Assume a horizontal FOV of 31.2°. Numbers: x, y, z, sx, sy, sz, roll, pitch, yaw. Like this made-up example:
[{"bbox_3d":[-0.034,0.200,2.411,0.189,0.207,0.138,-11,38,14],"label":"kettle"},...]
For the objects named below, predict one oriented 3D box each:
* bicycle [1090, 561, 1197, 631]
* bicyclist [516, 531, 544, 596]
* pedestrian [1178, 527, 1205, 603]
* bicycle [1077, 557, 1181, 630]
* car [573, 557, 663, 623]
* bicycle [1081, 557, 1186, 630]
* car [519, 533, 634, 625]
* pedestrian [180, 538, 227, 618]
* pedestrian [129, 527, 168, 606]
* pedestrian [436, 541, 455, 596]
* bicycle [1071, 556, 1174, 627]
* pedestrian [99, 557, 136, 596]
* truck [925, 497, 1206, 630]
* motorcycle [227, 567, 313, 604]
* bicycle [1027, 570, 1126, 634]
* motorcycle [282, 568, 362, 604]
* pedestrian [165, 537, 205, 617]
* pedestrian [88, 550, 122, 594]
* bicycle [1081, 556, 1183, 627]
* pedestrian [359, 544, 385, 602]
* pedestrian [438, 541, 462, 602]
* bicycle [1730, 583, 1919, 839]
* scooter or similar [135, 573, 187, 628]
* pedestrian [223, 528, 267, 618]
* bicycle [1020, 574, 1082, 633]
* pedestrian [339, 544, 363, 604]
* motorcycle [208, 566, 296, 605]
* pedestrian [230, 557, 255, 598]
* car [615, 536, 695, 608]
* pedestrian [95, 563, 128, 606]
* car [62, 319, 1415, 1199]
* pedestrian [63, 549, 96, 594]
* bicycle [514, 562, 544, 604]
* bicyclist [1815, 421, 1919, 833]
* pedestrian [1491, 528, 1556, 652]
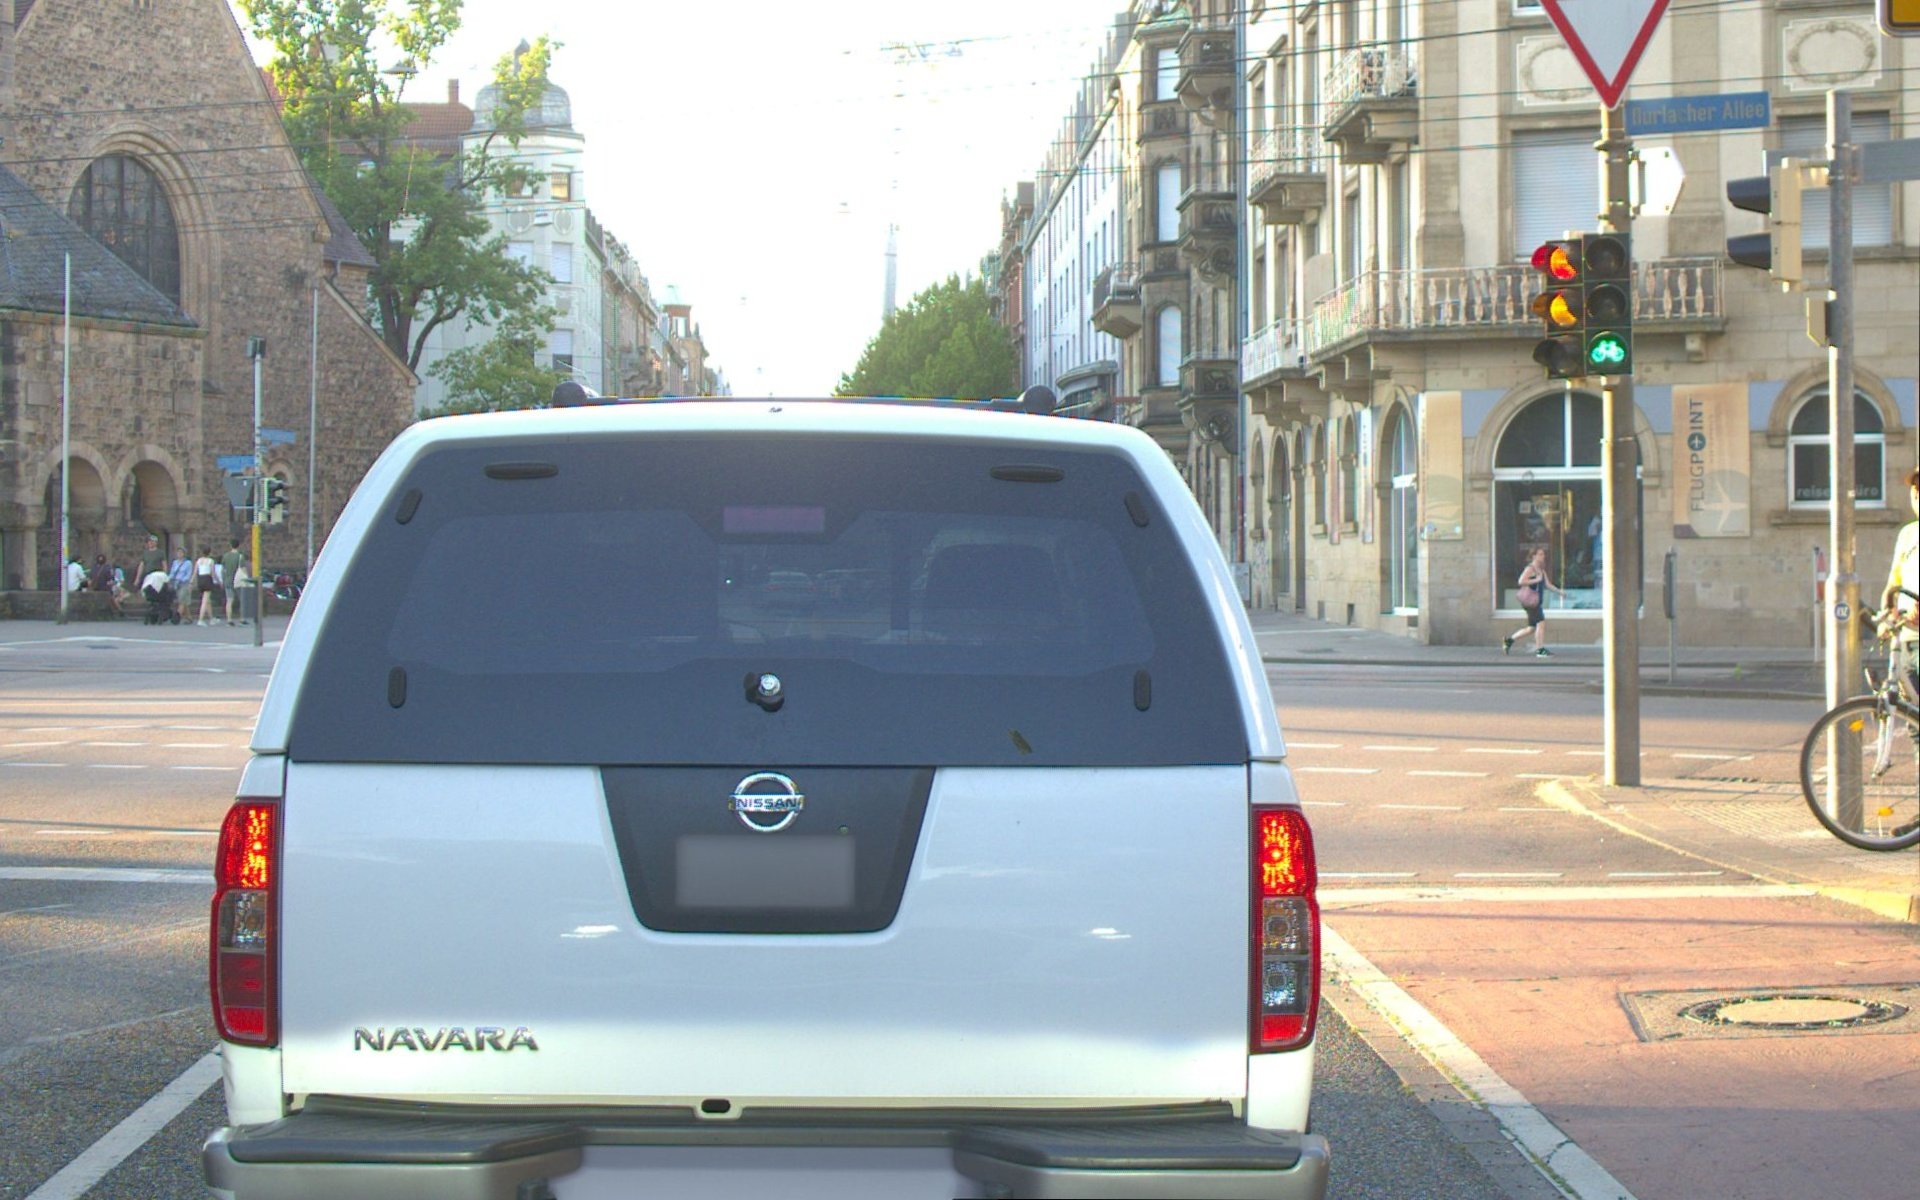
[{"bbox_3d":[3.318,-0.076,62.239,1.817,1.146,0.636,-3,0,-2],"label":"bicycle"},{"bbox_3d":[-10.894,-0.923,87.068,0.599,1.639,0.963,1,0,-2],"label":"bicyclist"},{"bbox_3d":[5.016,-0.756,74.429,0.527,1.648,0.547,1,0,-1],"label":"pedestrian"},{"bbox_3d":[3.135,-0.124,63.891,1.817,1.233,0.478,-3,0,-2],"label":"bicycle"},{"bbox_3d":[-8.247,-0.234,83.233,1.993,1.552,4.769,0,0,-3],"label":"car"},{"bbox_3d":[3.182,-0.125,63.179,1.817,1.233,0.488,-3,0,-2],"label":"bicycle"},{"bbox_3d":[-7.950,-0.470,71.592,1.993,1.778,4.798,-1,2,-2],"label":"car"},{"bbox_3d":[-16.028,-0.466,72.883,0.812,1.664,0.860,1,0,-3],"label":"pedestrian"},{"bbox_3d":[-17.472,-0.716,74.040,0.634,1.693,0.603,1,0,6],"label":"pedestrian"},{"bbox_3d":[-15.964,-0.963,106.670,0.560,1.690,0.645,1,0,-8],"label":"pedestrian"},{"bbox_3d":[3.097,-0.165,65.753,1.855,1.233,0.531,-3,0,-2],"label":"bicycle"},{"bbox_3d":[-21.078,-0.592,86.014,0.708,0.957,0.552,1,0,31],"label":"pedestrian"},{"bbox_3d":[2.153,-0.717,68.794,5.658,2.556,2.286,0,1,-44],"label":"truck"},{"bbox_3d":[-18.811,-0.395,93.726,2.243,0.984,0.708,1,0,-6],"label":"motorcycle"},{"bbox_3d":[2.119,0.034,62.704,1.726,1.080,0.317,-3,0,-2],"label":"bicycle"},{"bbox_3d":[-17.814,-0.392,96.015,2.167,0.984,0.593,1,0,19],"label":"motorcycle"},{"bbox_3d":[-16.606,-0.488,73.712,0.634,1.693,0.602,1,0,10],"label":"pedestrian"},{"bbox_3d":[-18.579,-0.610,74.696,0.522,0.957,0.479,1,0,19],"label":"pedestrian"},{"bbox_3d":[3.227,-0.160,64.616,1.817,1.233,0.412,-3,0,-2],"label":"bicycle"},{"bbox_3d":[-17.082,-0.784,99.827,0.642,1.690,0.562,1,0,-1],"label":"pedestrian"},{"bbox_3d":[-15.703,-0.873,105.832,0.642,1.849,0.562,1,0,-15],"label":"pedestrian"},{"bbox_3d":[4.495,0.486,15.695,2.065,1.106,0.628,1,0,-33],"label":"bicycle"},{"bbox_3d":[-16.918,0.004,72.800,0.634,1.099,1.078,0,3,13],"label":"scooter or similar"},{"bbox_3d":[-15.144,-0.564,72.830,0.812,1.894,0.666,1,0,-3],"label":"pedestrian"},{"bbox_3d":[1.684,0.069,63.587,1.076,1.021,0.317,-3,0,-2],"label":"bicycle"},{"bbox_3d":[-17.280,-0.736,97.572,0.642,1.690,0.562,1,0,-9],"label":"pedestrian"},{"bbox_3d":[-18.882,-0.387,91.698,2.243,0.984,0.708,1,0,-6],"label":"motorcycle"},{"bbox_3d":[-16.761,-0.526,80.263,0.521,0.957,0.479,1,0,-16],"label":"pedestrian"},{"bbox_3d":[-8.692,-0.824,98.421,1.993,2.007,4.951,-1,1,-2],"label":"car"},{"bbox_3d":[-18.722,-0.342,75.869,0.478,0.957,0.522,1,0,29],"label":"pedestrian"},{"bbox_3d":[-0.356,0.490,7.120,1.993,1.803,4.000,1,0,-1],"label":"car"},{"bbox_3d":[-19.205,-0.619,74.971,0.522,0.957,0.479,1,0,19],"label":"pedestrian"},{"bbox_3d":[-10.922,-0.439,87.140,0.599,1.040,1.946,1,0,-3],"label":"bicycle"},{"bbox_3d":[4.377,0.117,15.616,0.696,1.818,0.628,1,0,-33],"label":"bicyclist"},{"bbox_3d":[8.109,-0.144,49.502,0.788,1.773,0.543,1,0,25],"label":"pedestrian"}]
